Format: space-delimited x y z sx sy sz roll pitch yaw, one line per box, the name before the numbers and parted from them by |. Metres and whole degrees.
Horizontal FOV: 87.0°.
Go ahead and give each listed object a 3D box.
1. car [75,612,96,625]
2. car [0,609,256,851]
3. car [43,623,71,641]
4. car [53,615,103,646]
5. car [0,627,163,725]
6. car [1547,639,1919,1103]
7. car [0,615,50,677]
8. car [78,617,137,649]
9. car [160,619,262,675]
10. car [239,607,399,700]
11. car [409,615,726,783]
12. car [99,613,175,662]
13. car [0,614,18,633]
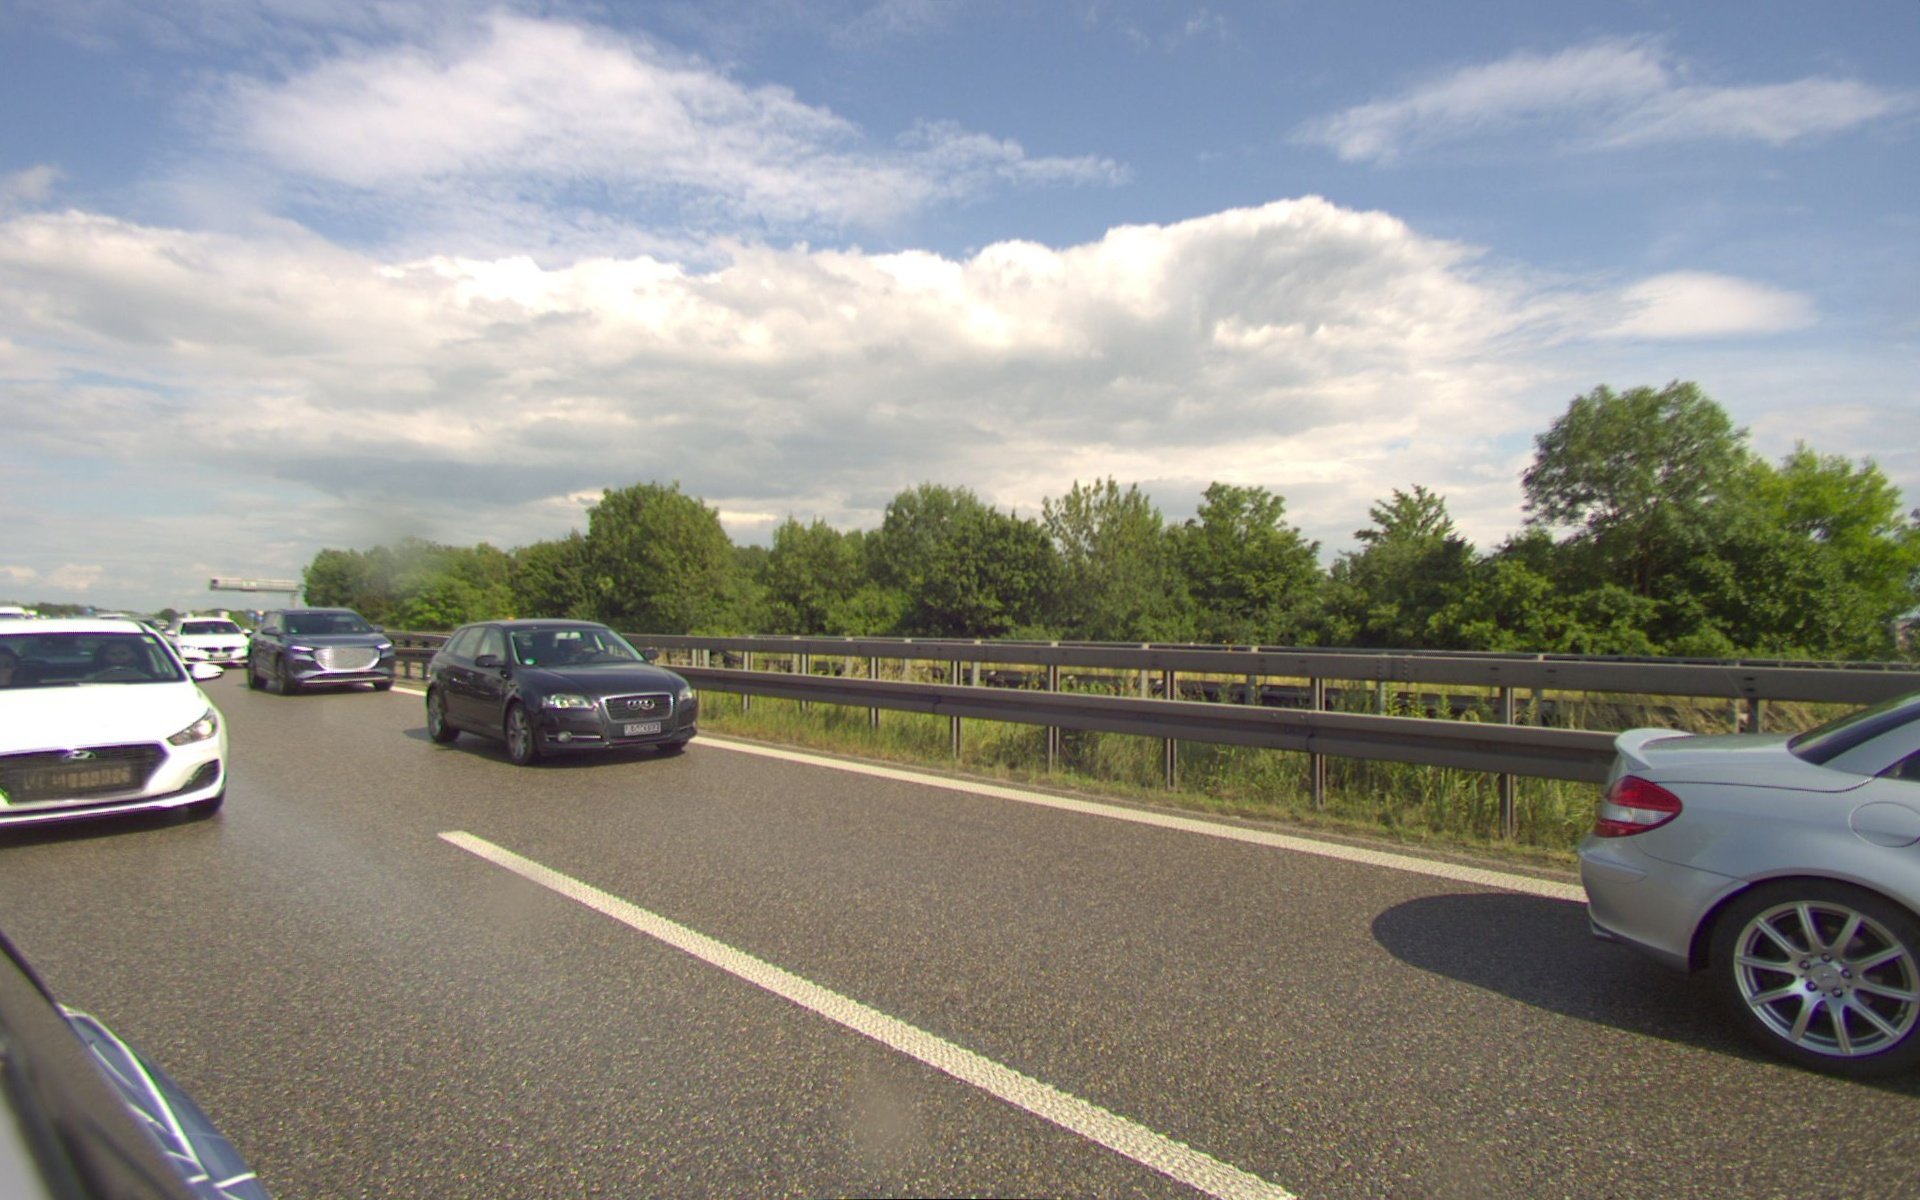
car | -122.059 2.523 141.246 1.970 1.792 4.464 0 -1 -45
car | -7.165 0.825 7.997 4.550 1.466 1.860 -1 -1 45
car | -97.195 3.408 108.903 4.002 1.710 1.971 0 1 45
car | -53.505 1.804 61.358 4.002 1.710 1.971 0 1 45
car | -14.301 1.121 16.390 4.289 1.348 1.705 -1 -1 45
car | 4.124 0.793 2.762 4.065 1.288 1.705 -1 -1 45
car | -25.717 1.201 26.966 4.002 1.497 1.971 0 0 45
car | -44.392 1.706 52.667 4.002 1.490 1.971 0 1 45
car | -21.314 1.281 28.751 4.002 1.389 1.747 0 -1 45
car | -12.651 0.971 19.868 1.848 1.618 4.232 0 -1 -44
car | -4.387 0.897 10.955 1.746 1.436 4.142 0 0 -44
car | -33.499 1.476 41.163 4.002 1.761 1.971 0 1 45
car | -89.535 2.208 94.645 4.002 1.710 1.971 0 1 45
